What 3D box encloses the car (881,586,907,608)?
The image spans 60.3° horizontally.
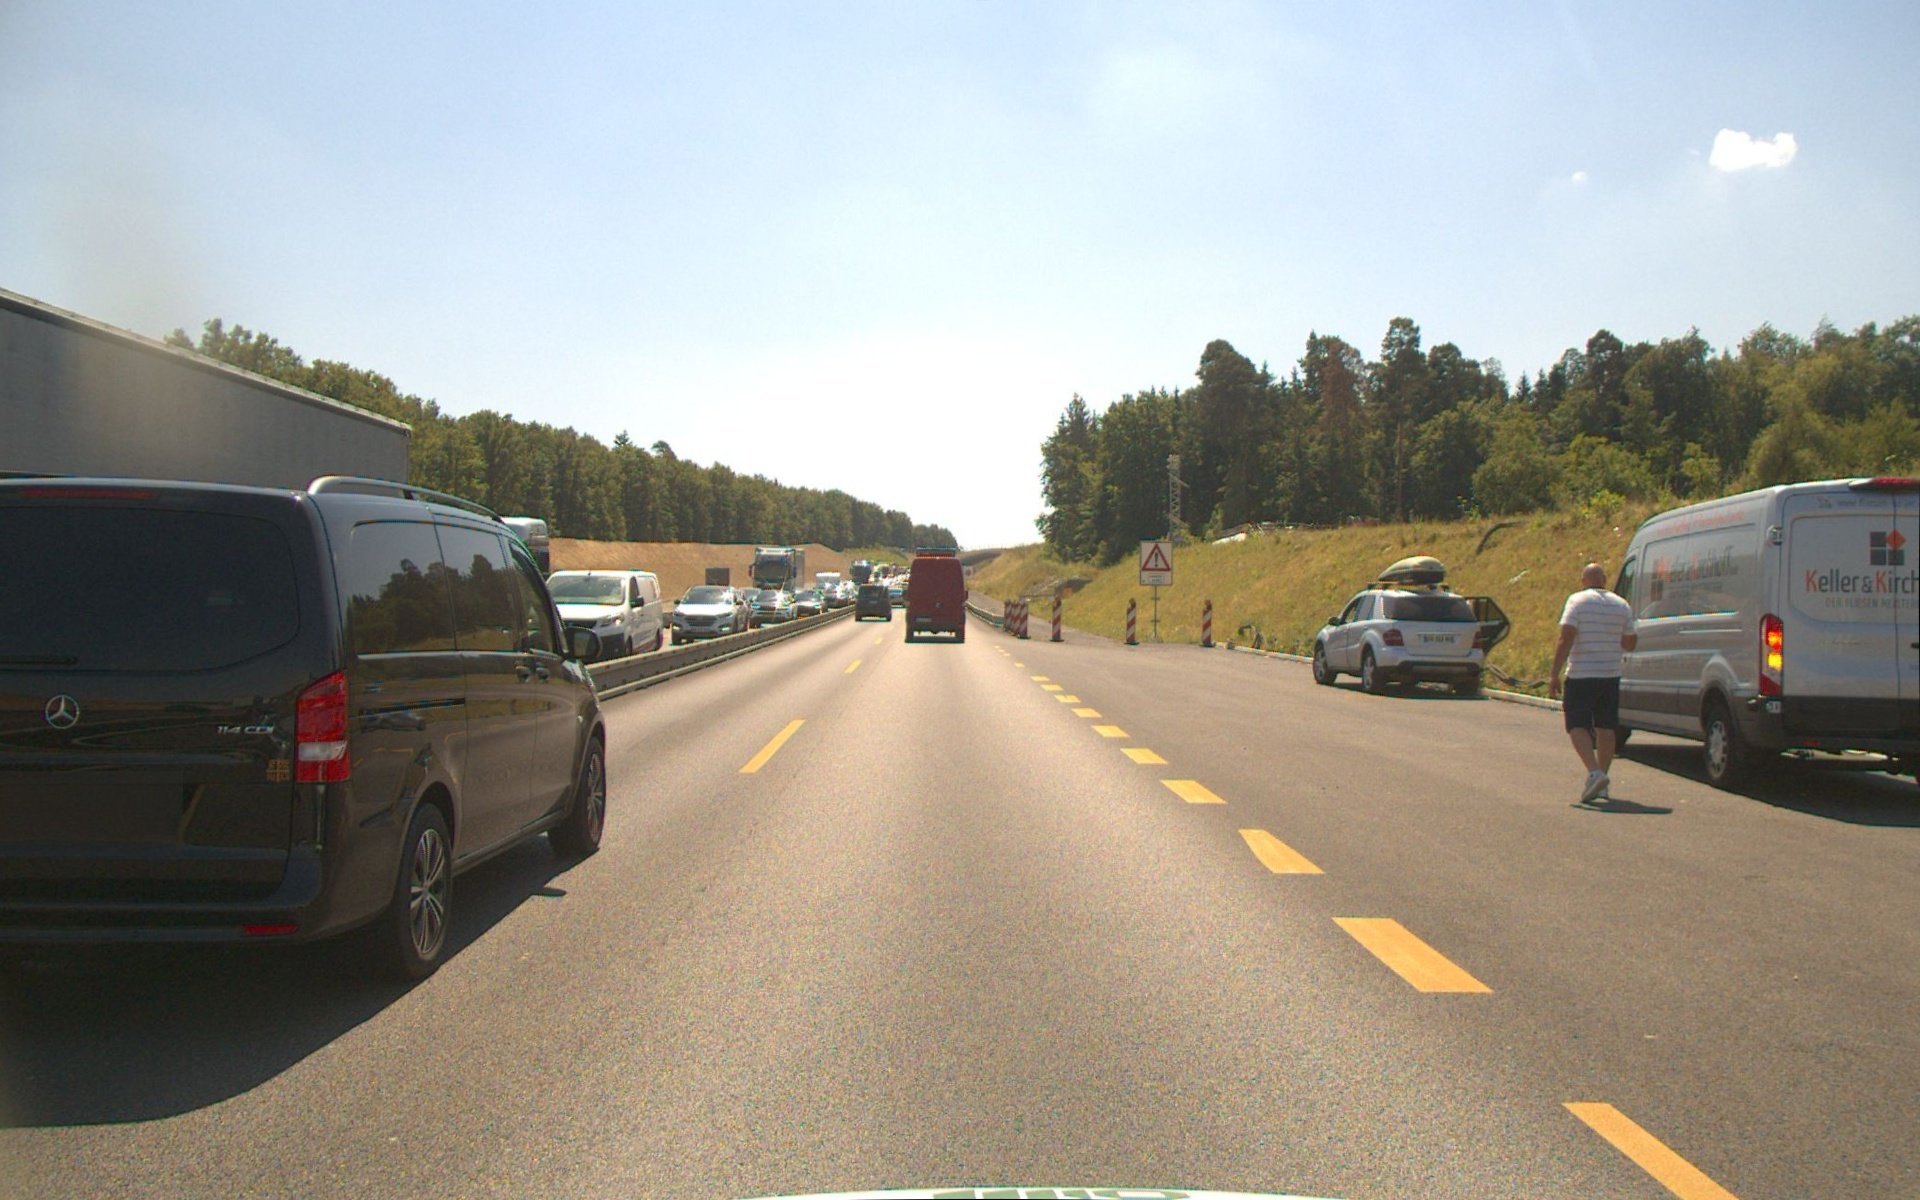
[{"bbox_3d":[-4.928,-0.207,124.184,1.794,1.549,3.960,1,-1,-1],"label":"car"}]

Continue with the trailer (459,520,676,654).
[{"bbox_3d":[-10.230,-0.257,45.194,2.299,2.983,15.268,1,0,0],"label":"trailer"}]

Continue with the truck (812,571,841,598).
[{"bbox_3d":[-12.930,-1.469,160.316,2.351,2.399,5.226,1,-1,0],"label":"truck"}]

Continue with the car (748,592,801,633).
[{"bbox_3d":[-7.514,0.516,67.257,1.591,1.584,4.068,1,-1,1],"label":"car"}]

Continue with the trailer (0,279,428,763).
[{"bbox_3d":[-9.729,-0.704,19.446,2.734,4.146,13.707,1,0,-1],"label":"trailer"}]

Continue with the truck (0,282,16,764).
[{"bbox_3d":[-9.550,-0.717,11.782,2.712,4.115,4.942,1,-1,-1],"label":"truck"}]

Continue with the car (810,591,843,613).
[{"bbox_3d":[-8.681,0.126,107.598,1.803,1.351,3.941,1,-1,0],"label":"car"}]

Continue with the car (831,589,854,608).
[{"bbox_3d":[-8.887,-0.139,125.261,1.434,1.351,3.371,1,-1,0],"label":"car"}]

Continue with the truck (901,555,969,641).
[{"bbox_3d":[-0.831,-0.020,54.648,2.109,2.635,5.331,1,-1,-1],"label":"truck"}]

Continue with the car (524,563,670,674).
[{"bbox_3d":[-6.958,0.378,32.242,1.788,1.960,5.261,1,-1,-2],"label":"car"}]

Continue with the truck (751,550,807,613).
[{"bbox_3d":[-11.453,-1.105,105.377,2.457,3.680,9.639,1,-1,0],"label":"truck"}]

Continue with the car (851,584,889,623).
[{"bbox_3d":[-4.561,0.173,84.586,1.716,1.856,4.781,1,0,-1],"label":"car"}]

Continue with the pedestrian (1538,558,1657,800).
[{"bbox_3d":[5.062,0.613,13.167,0.708,1.860,0.720,1,-1,6],"label":"pedestrian"}]

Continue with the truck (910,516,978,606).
[{"bbox_3d":[-1.193,-2.519,116.260,4.311,5.592,16.598,1,-1,-1],"label":"truck"}]

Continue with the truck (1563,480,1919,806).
[{"bbox_3d":[7.622,0.332,15.758,2.085,2.500,5.929,1,0,6],"label":"truck"}]

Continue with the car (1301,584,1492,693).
[{"bbox_3d":[7.626,0.609,29.399,1.740,1.706,4.851,2,1,-5],"label":"car"}]

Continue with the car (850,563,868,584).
[{"bbox_3d":[-13.543,-3.570,222.168,2.337,2.625,3.998,1,-1,-2],"label":"car"}]

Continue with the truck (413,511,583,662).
[{"bbox_3d":[-10.241,-0.241,37.166,2.350,3.112,5.061,1,-1,0],"label":"truck"}]

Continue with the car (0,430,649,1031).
[{"bbox_3d":[-2.911,0.420,7.967,1.836,1.883,5.477,1,0,-1],"label":"car"}]

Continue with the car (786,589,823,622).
[{"bbox_3d":[-8.019,0.297,85.645,1.649,1.624,3.223,1,-1,-1],"label":"car"}]

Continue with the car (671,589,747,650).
[{"bbox_3d":[-7.276,0.578,48.308,1.690,1.659,4.388,1,-1,-2],"label":"car"}]

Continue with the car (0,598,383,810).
[{"bbox_3d":[-6.278,0.738,13.436,1.692,1.411,4.482,1,-1,-2],"label":"car"}]
